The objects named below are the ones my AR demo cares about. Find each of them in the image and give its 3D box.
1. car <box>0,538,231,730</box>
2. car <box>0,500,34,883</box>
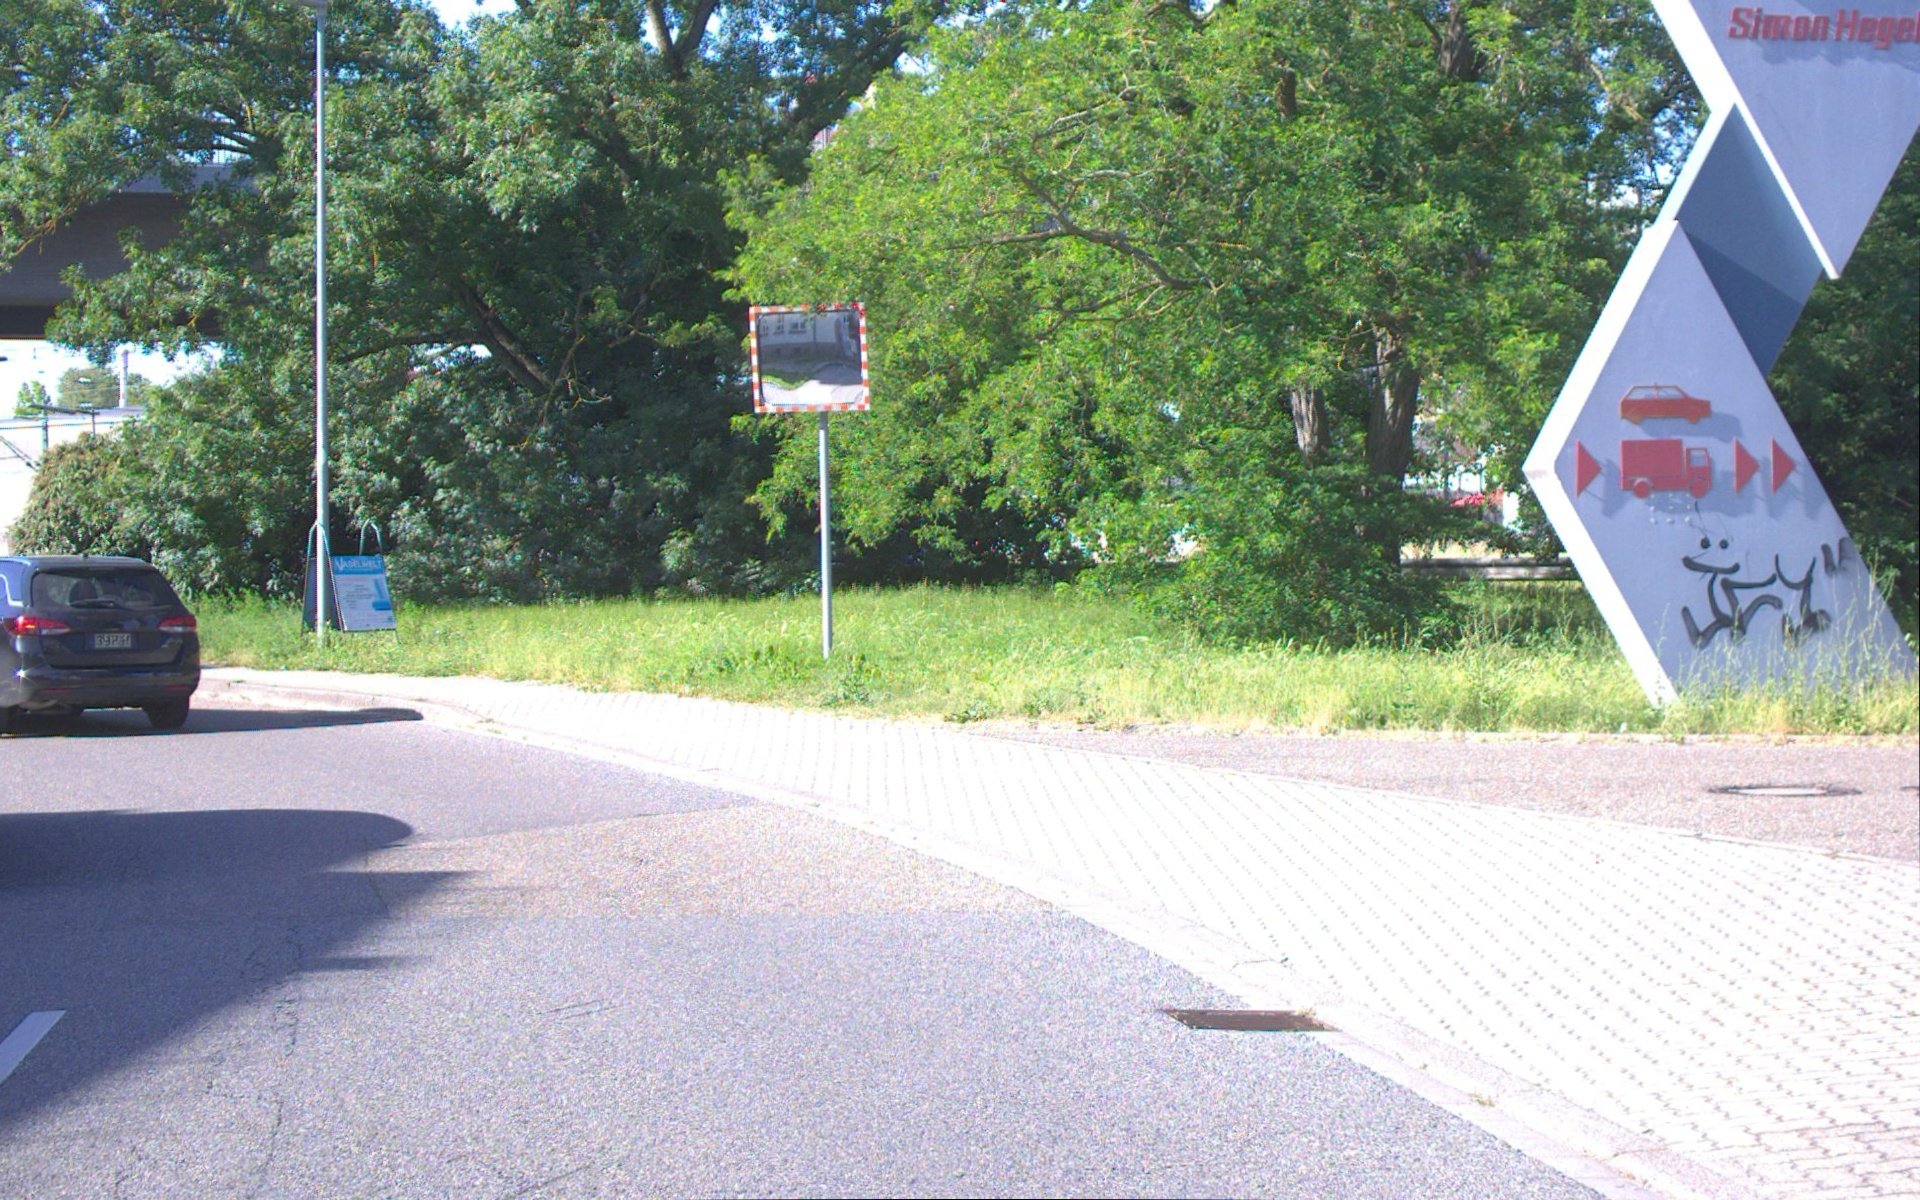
[{"bbox_3d":[-7.770,0.236,29.697,1.942,1.483,4.566,-2,1,-24],"label":"car"},{"bbox_3d":[-5.992,0.430,16.942,1.993,1.689,4.566,-4,2,-24],"label":"car"}]
